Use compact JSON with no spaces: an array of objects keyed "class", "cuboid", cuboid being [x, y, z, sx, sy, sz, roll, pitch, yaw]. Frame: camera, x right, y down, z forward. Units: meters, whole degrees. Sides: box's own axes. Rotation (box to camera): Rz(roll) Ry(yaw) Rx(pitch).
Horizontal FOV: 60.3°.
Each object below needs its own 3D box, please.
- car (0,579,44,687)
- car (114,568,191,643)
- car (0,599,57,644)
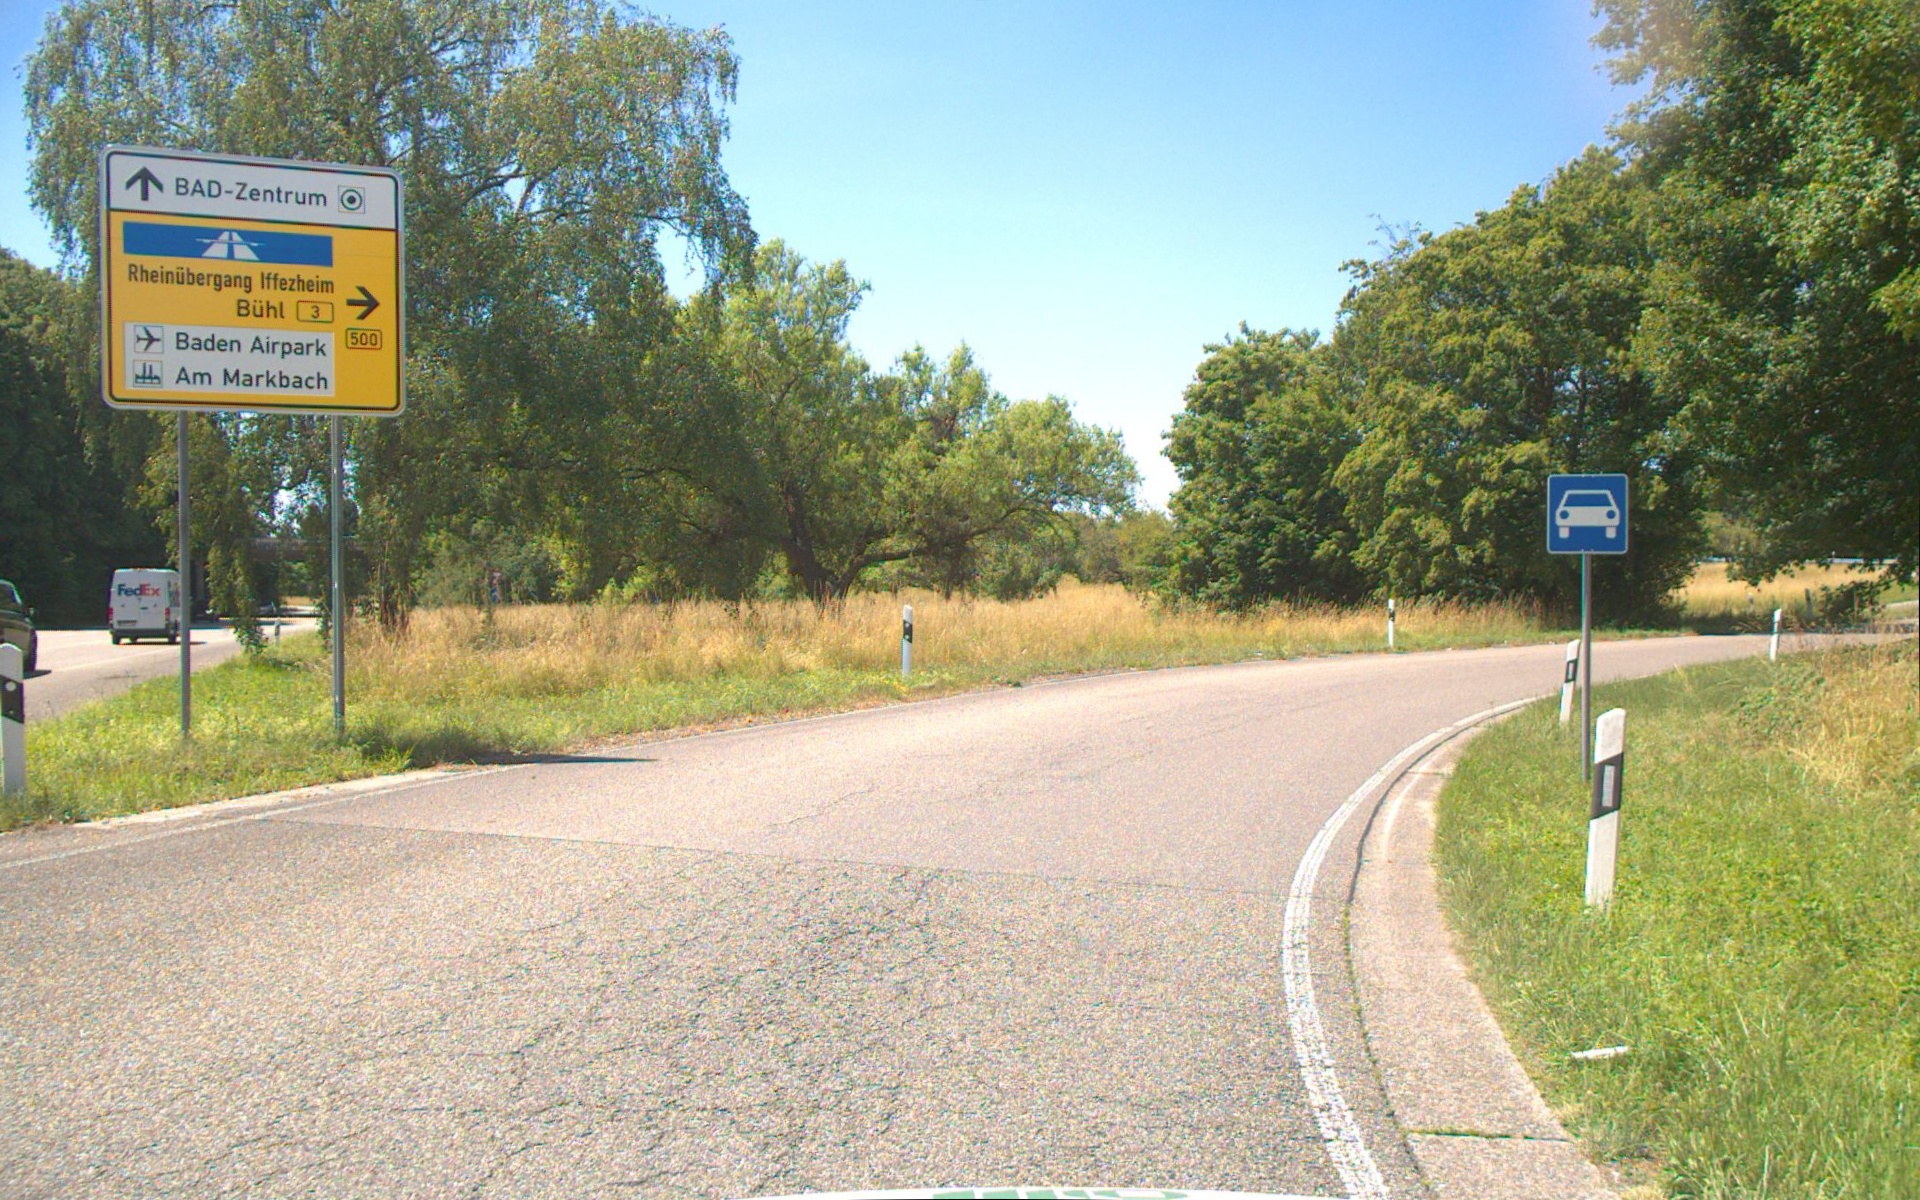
[{"class":"car","cuboid":[-19.223,0.581,31.999,1.964,1.982,4.066,1,0,-20]},{"class":"car","cuboid":[-28.558,0.194,58.611,2.087,2.545,4.063,1,0,-22]},{"class":"car","cuboid":[-36.678,0.805,64.306,2.085,1.663,4.066,1,0,-20]}]
